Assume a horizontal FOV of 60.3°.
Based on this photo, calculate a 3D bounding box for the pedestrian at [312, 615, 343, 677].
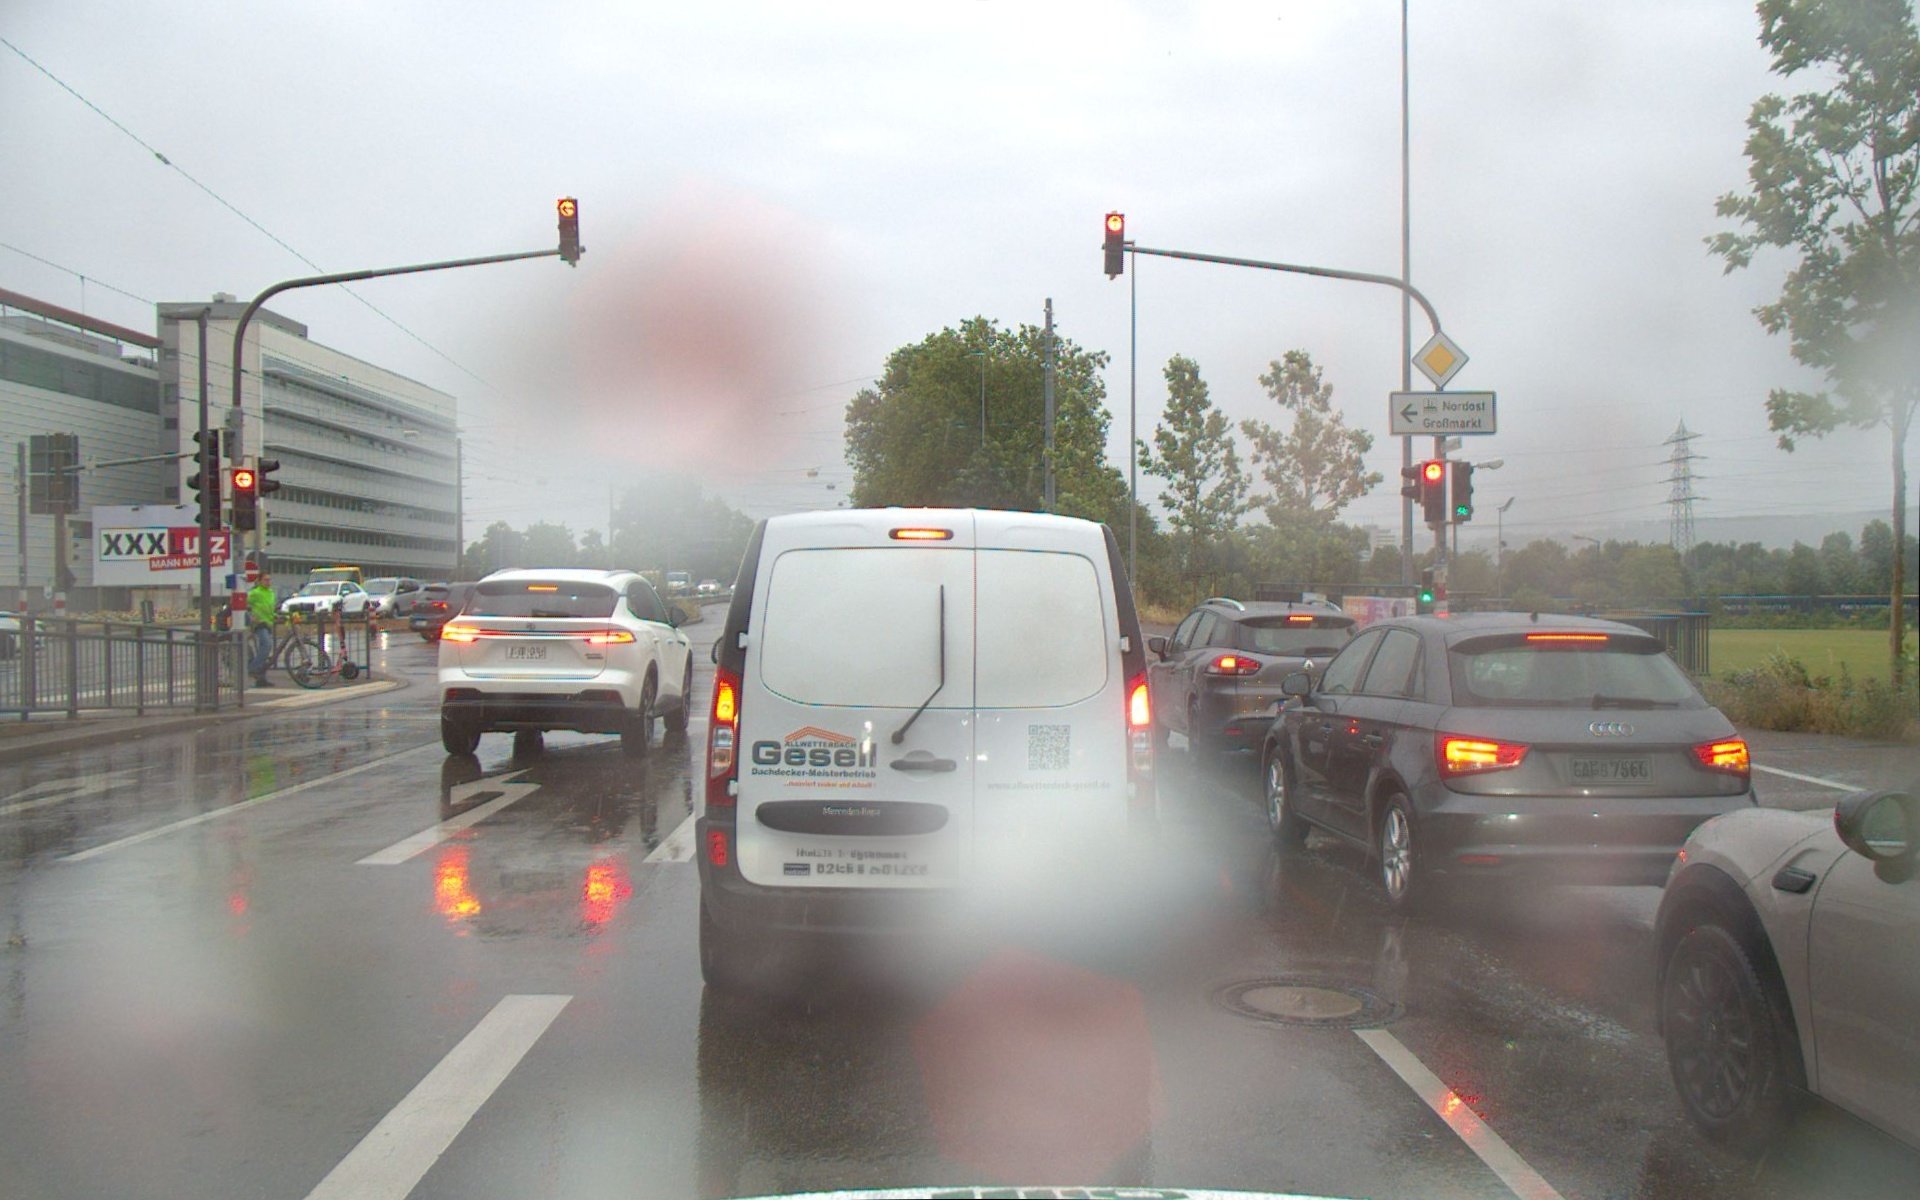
[{"bbox_3d":[-9.697,0.701,25.349,0.309,0.913,0.380,2,0,-3],"label":"pedestrian"}]

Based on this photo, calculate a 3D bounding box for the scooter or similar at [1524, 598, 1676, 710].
[{"bbox_3d":[7.639,0.601,19.924,0.676,1.232,3.020,0,0,0],"label":"scooter or similar"}]

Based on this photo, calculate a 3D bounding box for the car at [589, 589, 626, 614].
[{"bbox_3d":[-21.956,0.087,103.042,1.528,1.451,3.568,2,-1,-1],"label":"car"}]

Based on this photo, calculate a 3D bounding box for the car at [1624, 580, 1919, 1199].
[{"bbox_3d":[2.966,0.755,3.249,1.668,1.534,3.878,3,-1,-1],"label":"car"}]

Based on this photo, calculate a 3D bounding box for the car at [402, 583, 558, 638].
[{"bbox_3d":[-11.898,0.283,41.155,1.415,1.229,3.515,1,-1,41],"label":"car"}]

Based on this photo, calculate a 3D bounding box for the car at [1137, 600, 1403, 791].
[{"bbox_3d":[2.764,0.790,15.578,1.650,1.534,3.919,1,0,-2],"label":"car"}]

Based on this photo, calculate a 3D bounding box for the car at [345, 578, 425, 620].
[{"bbox_3d":[-21.768,-0.013,62.729,1.676,1.451,3.808,2,-1,-1],"label":"car"}]

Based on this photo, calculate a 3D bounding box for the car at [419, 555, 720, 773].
[{"bbox_3d":[-3.644,0.542,16.344,1.891,1.806,4.663,1,0,-1],"label":"car"}]

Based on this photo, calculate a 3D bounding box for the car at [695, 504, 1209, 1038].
[{"bbox_3d":[-0.169,0.547,7.666,1.719,1.780,4.166,1,1,-4],"label":"car"}]

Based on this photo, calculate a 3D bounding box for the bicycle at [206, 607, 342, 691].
[{"bbox_3d":[-9.690,0.693,23.430,1.728,1.157,0.517,1,0,-21],"label":"bicycle"}]

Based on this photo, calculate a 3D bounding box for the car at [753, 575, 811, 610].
[{"bbox_3d":[-6.225,-0.255,58.105,1.460,1.104,3.537,2,-1,3],"label":"car"}]

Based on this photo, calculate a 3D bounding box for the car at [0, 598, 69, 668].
[{"bbox_3d":[-20.899,0.632,34.320,3.994,1.400,1.596,3,-1,-22],"label":"car"}]

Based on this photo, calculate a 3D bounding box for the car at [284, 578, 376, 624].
[{"bbox_3d":[-21.590,0.050,56.825,1.676,1.451,3.808,2,-1,-1],"label":"car"}]

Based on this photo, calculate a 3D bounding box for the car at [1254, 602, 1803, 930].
[{"bbox_3d":[2.793,0.745,8.981,1.565,1.390,3.628,-1,-1,-3],"label":"car"}]

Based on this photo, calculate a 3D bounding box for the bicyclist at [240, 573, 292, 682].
[{"bbox_3d":[-9.817,0.391,23.412,0.594,1.517,0.597,1,0,-19],"label":"bicyclist"}]

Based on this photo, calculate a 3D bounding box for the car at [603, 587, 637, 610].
[{"bbox_3d":[-22.784,-0.084,110.803,1.528,1.451,3.568,2,-1,-1],"label":"car"}]

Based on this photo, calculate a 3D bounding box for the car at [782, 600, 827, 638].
[{"bbox_3d":[-6.859,0.842,73.433,1.602,1.549,3.774,4,0,-1],"label":"car"}]
